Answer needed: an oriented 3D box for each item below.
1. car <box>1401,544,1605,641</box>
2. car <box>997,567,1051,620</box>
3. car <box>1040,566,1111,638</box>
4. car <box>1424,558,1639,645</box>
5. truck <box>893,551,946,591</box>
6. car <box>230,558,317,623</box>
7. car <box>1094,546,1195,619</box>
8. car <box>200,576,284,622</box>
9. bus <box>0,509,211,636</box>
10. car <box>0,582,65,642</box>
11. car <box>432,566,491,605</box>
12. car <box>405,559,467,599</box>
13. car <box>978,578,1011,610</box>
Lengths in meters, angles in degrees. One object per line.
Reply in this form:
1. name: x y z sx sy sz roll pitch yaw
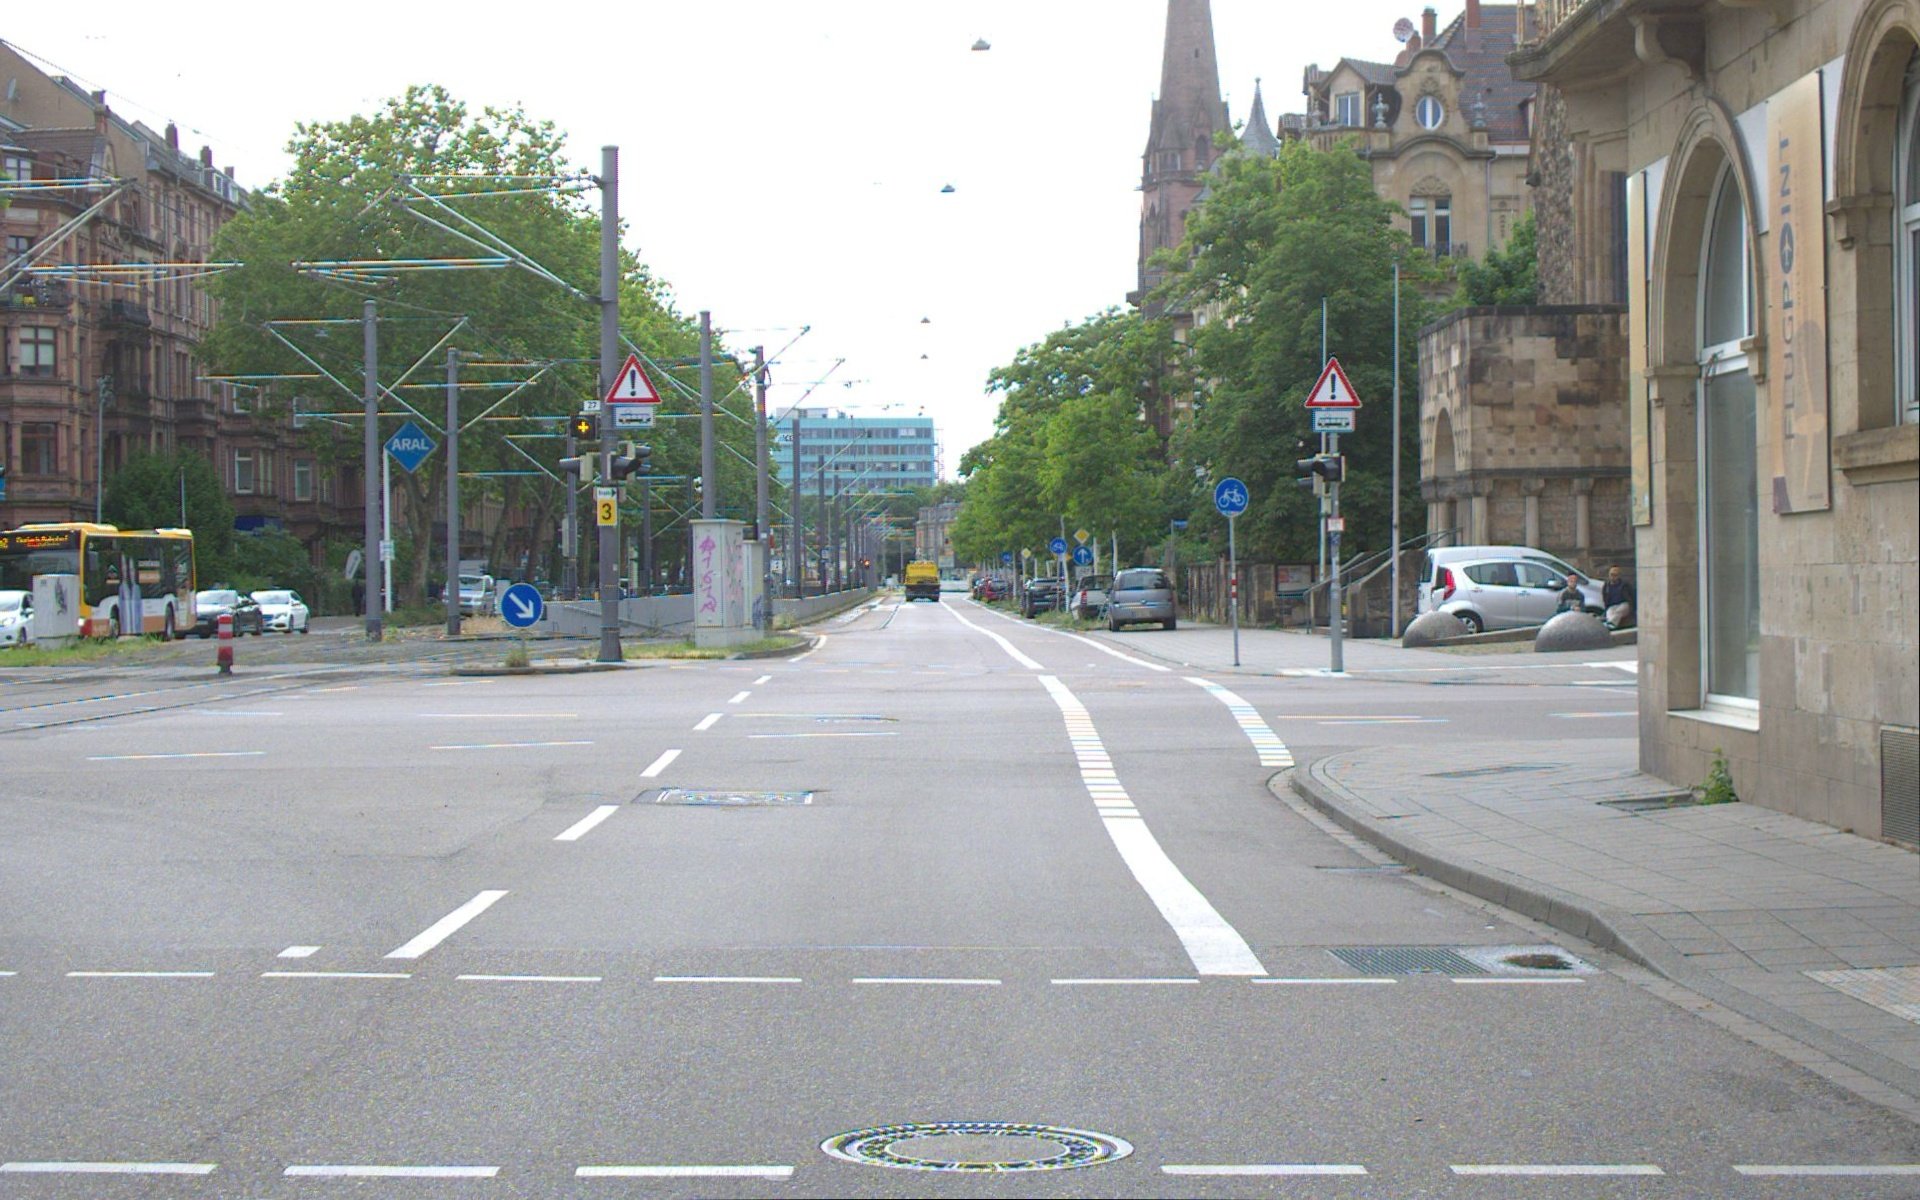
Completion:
1. car: 10.783 -0.154 68.409 3.713 1.849 2.000 1 0 0
2. car: 2.521 -0.270 136.195 1.993 2.007 4.000 1 1 -1
3. car: 3.333 0.038 99.678 1.993 2.007 4.000 1 1 1
4. car: 10.755 0.024 64.892 3.713 1.558 2.000 1 0 0
5. truck: -2.801 -2.053 241.817 3.055 2.760 9.814 0 1 3
6. car: -21.851 -0.322 109.604 1.993 2.007 4.000 1 1 -1
7. car: 4.857 -0.466 89.989 1.994 1.849 4.024 1 1 12
8. car: -21.330 -0.051 102.230 1.656 1.316 3.638 1 1 1
9. bus: -22.488 -0.733 89.097 3.231 3.025 12.311 1 1 1
10. car: -21.921 0.255 79.047 1.656 1.316 3.638 1 1 1
11. car: -21.644 -0.638 149.339 1.993 1.605 4.000 1 1 -1
12. car: -21.552 -0.878 141.523 1.993 1.605 4.000 1 1 -1
13. car: 2.173 -0.389 216.841 1.993 2.007 4.000 1 1 -1
